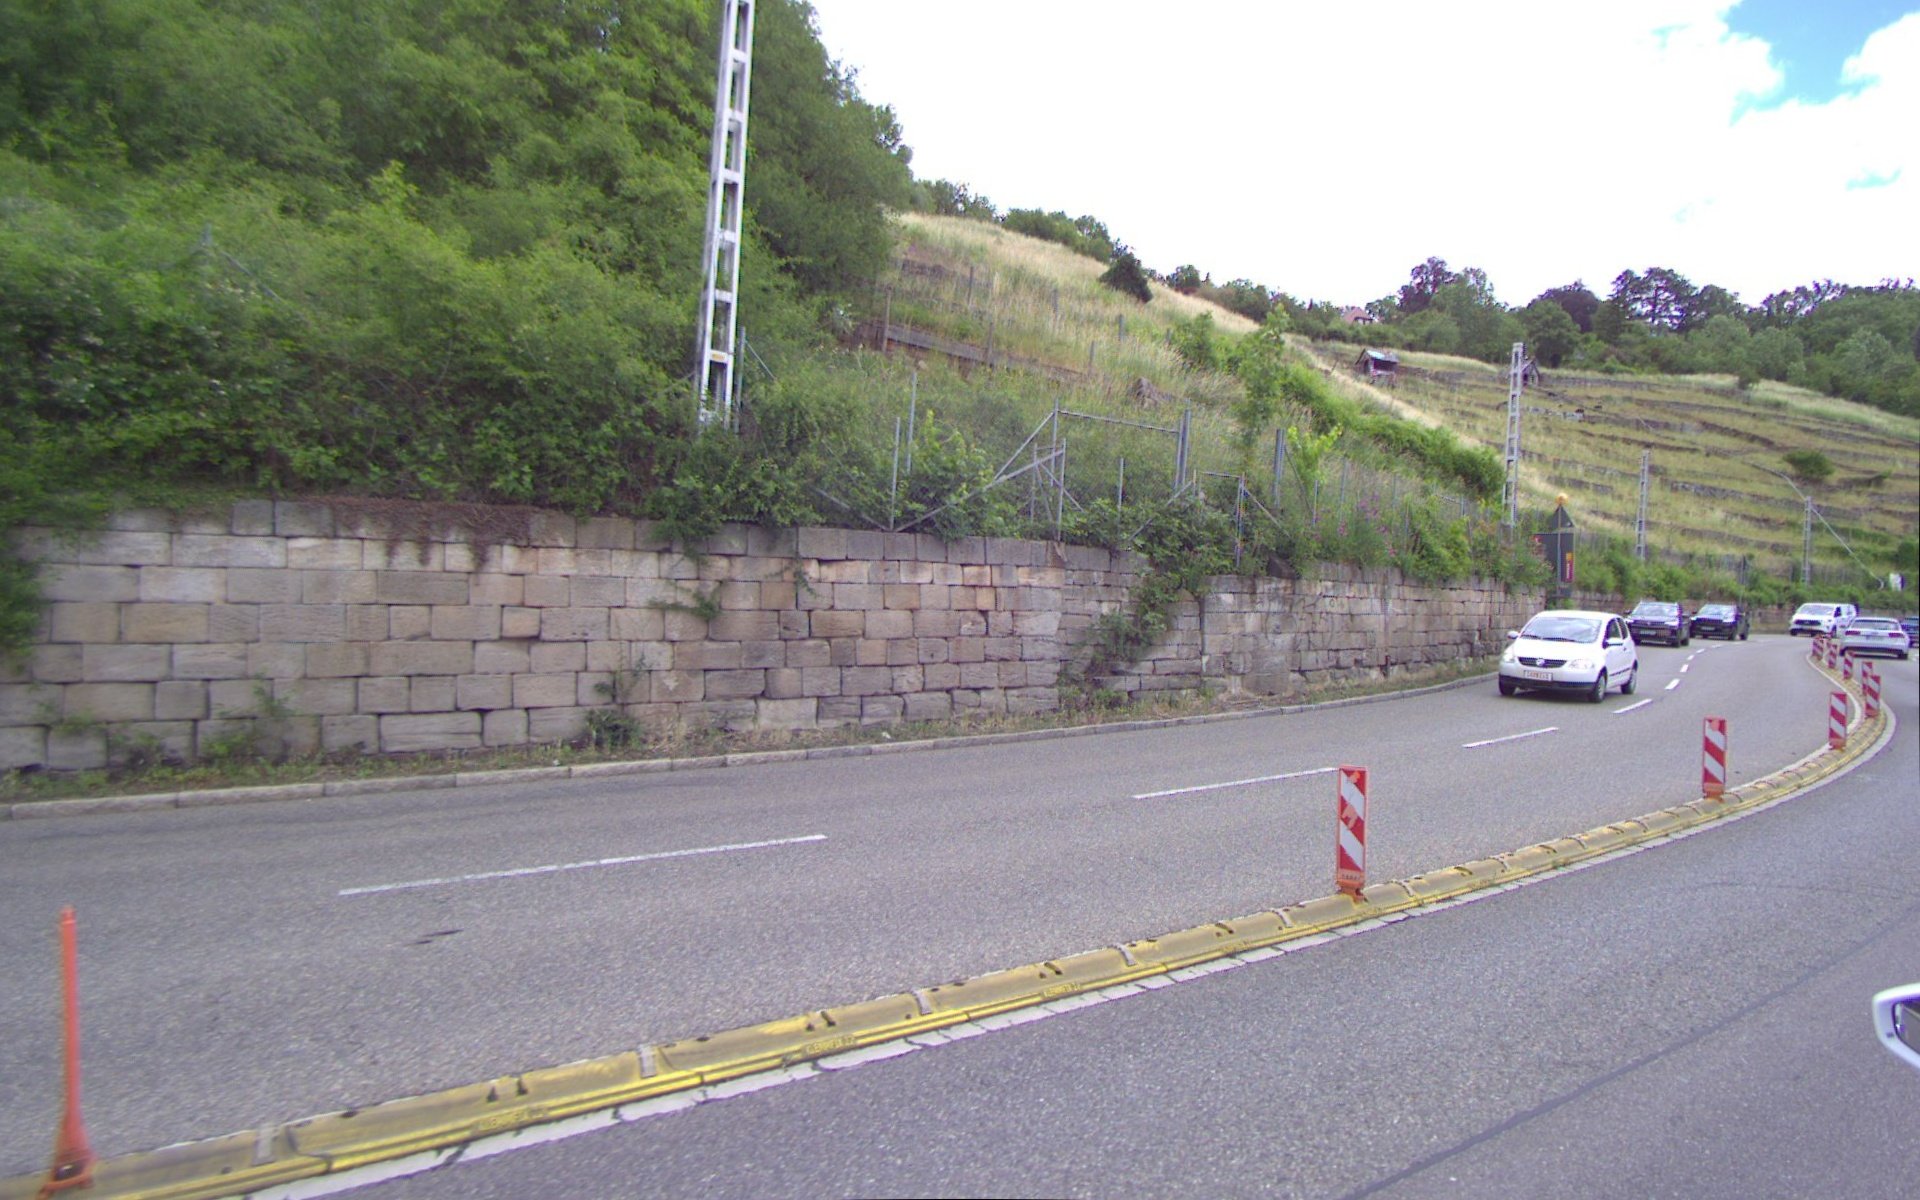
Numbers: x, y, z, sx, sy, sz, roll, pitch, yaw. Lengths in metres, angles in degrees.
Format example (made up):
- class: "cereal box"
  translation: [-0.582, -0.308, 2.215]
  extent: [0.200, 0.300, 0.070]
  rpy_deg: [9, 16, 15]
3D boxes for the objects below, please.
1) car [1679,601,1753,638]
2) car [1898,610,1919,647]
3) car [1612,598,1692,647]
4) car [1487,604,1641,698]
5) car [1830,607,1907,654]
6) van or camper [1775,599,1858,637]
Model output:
- class: "car"
  translation: [36.170, 0.929, 47.994]
  extent: [4.312, 1.645, 1.849]
  rpy_deg: [2, 1, -40]
- class: "car"
  translation: [48.036, 1.424, 49.619]
  extent: [3.968, 1.669, 1.977]
  rpy_deg: [5, -5, -40]
- class: "car"
  translation: [26.855, 0.853, 38.933]
  extent: [1.823, 1.749, 4.436]
  rpy_deg: [2, 0, 44]
- class: "car"
  translation: [11.375, 0.910, 18.810]
  extent: [1.683, 1.569, 3.977]
  rpy_deg: [-1, -2, 43]
- class: "car"
  translation: [33.635, 1.168, 37.190]
  extent: [1.972, 1.522, 4.642]
  rpy_deg: [-2, -5, 43]
- class: "van or camper"
  translation: [50.104, 1.046, 58.759]
  extent: [4.903, 2.043, 2.138]
  rpy_deg: [-1, -1, -30]
